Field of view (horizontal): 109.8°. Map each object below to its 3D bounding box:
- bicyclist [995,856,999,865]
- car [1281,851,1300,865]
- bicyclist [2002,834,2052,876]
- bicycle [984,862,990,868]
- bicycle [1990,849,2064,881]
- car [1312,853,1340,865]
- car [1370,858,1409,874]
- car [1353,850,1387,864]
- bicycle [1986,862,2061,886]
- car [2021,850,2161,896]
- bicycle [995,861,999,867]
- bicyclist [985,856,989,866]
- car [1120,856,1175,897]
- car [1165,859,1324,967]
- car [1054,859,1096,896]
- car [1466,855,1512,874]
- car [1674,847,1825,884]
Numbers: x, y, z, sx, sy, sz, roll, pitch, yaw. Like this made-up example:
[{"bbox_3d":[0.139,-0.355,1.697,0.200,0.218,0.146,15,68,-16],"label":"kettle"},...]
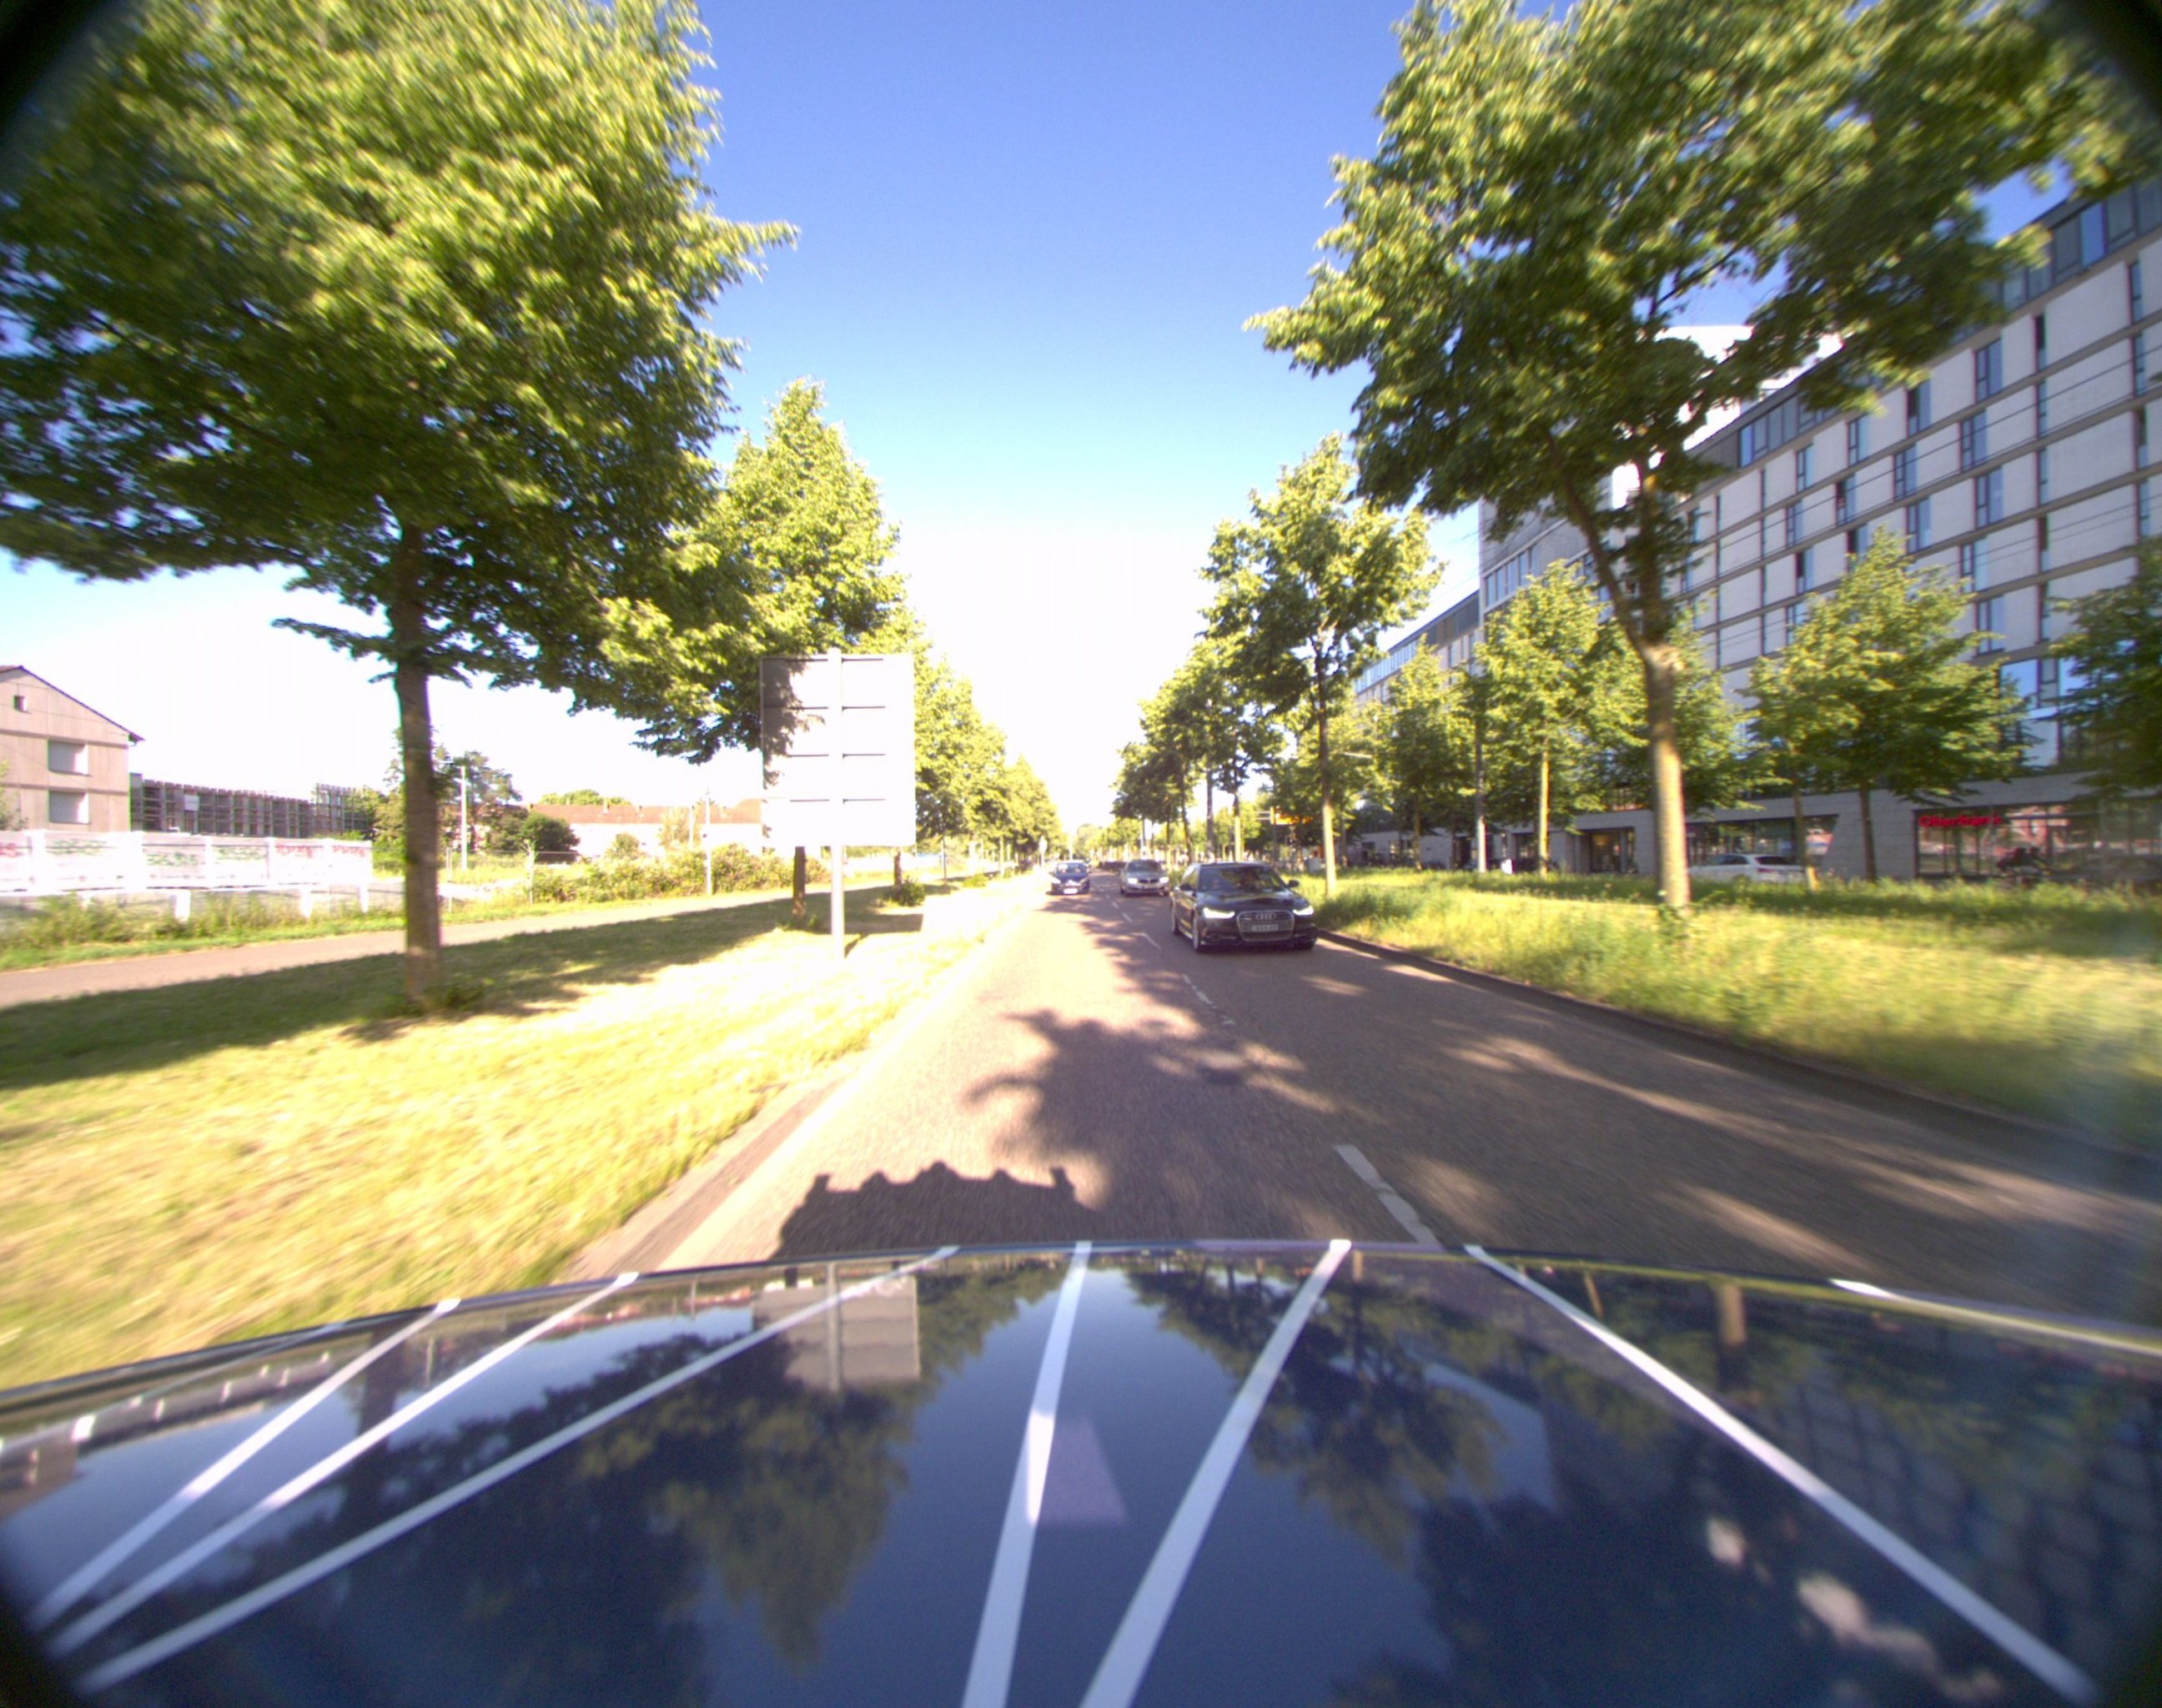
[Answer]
[{"bbox_3d":[-14.826,1.217,134.417,0.593,1.578,0.965,-1,2,-2],"label":"bicyclist"},{"bbox_3d":[31.016,0.619,112.721,1.804,1.915,3.999,-1,2,1],"label":"car"},{"bbox_3d":[33.953,0.032,27.285,0.722,1.455,0.832,-1,0,2],"label":"bicyclist"},{"bbox_3d":[-15.230,1.741,123.301,0.657,1.006,1.820,-1,0,0],"label":"bicycle"},{"bbox_3d":[33.965,0.390,27.308,0.734,1.113,1.571,-1,0,2],"label":"bicycle"},{"bbox_3d":[25.826,0.520,80.195,1.773,1.231,3.484,-1,0,-1],"label":"car"},{"bbox_3d":[30.734,1.158,75.733,2.004,1.412,4.545,-2,0,0],"label":"car"},{"bbox_3d":[30.921,0.298,81.391,1.963,1.412,4.545,-1,0,0],"label":"car"},{"bbox_3d":[38.227,0.787,30.853,0.543,0.876,2.014,-1,1,-1],"label":"bicycle"},{"bbox_3d":[30.991,0.524,22.570,1.672,1.200,3.582,-1,1,-1],"label":"car"},{"bbox_3d":[-14.816,1.796,134.470,0.593,0.955,1.899,-1,2,-2],"label":"bicycle"},{"bbox_3d":[-15.242,1.175,123.232,0.654,1.544,0.795,-1,0,0],"label":"bicyclist"},{"bbox_3d":[2.715,0.885,32.035,1.849,1.560,4.528,-1,0,-1],"label":"car"},{"bbox_3d":[2.664,0.884,13.463,1.789,1.518,4.601,-2,0,0],"label":"car"},{"bbox_3d":[-0.283,1.048,34.861,1.763,1.506,3.947,-1,0,-1],"label":"car"},{"bbox_3d":[30.890,0.772,57.640,1.654,1.228,3.464,-1,2,-1],"label":"car"},{"bbox_3d":[24.787,0.449,28.416,1.802,1.284,4.311,0,-1,-1],"label":"car"}]
